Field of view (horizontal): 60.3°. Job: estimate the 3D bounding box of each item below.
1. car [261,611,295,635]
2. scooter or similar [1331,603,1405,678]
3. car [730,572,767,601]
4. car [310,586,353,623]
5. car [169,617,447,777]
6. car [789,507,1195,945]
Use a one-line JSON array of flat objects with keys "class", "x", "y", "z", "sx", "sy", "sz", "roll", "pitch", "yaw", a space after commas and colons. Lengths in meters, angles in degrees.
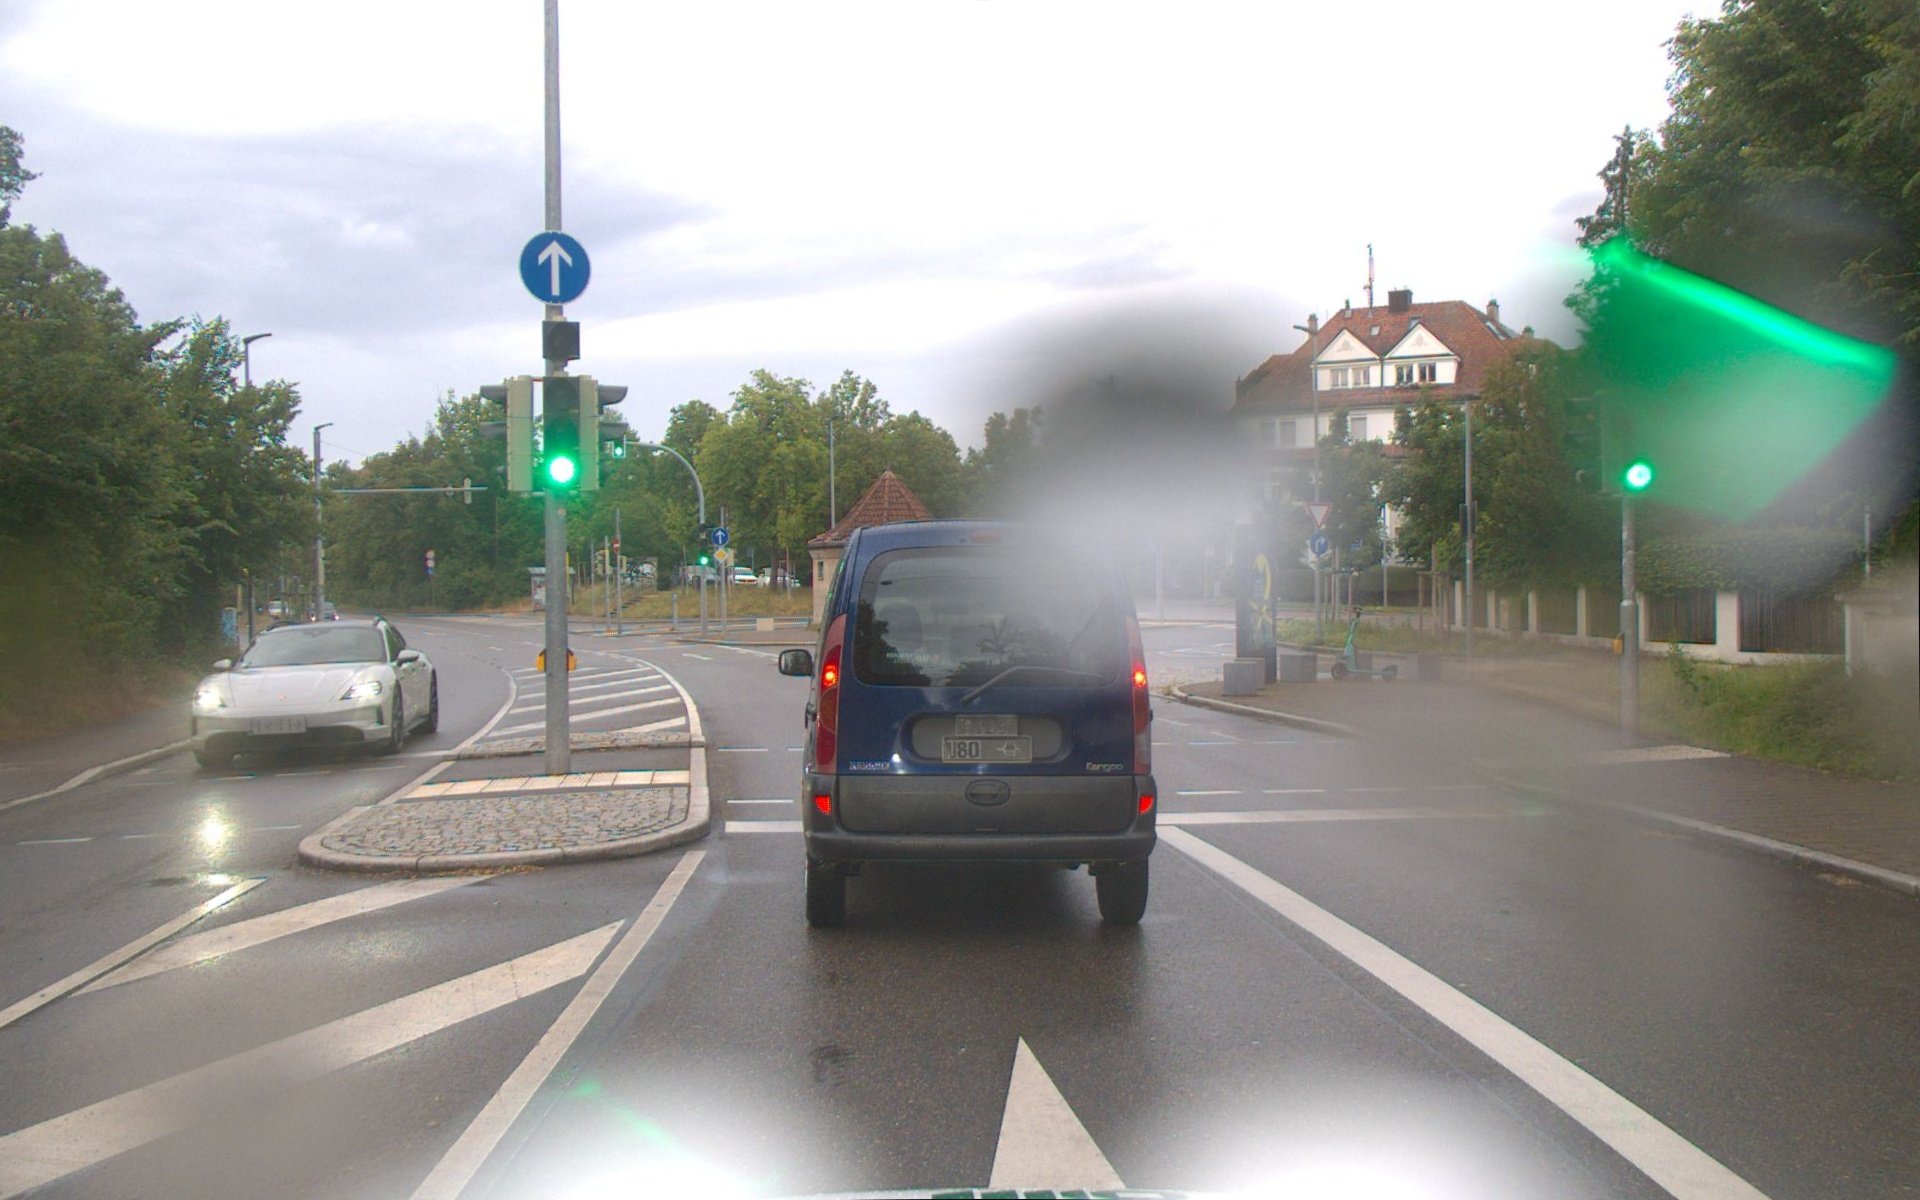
[{"class": "car", "x": -46.843, "y": 1.577, "z": 113.632, "sx": 1.964, "sy": 1.613, "sz": 3.976, "roll": 0, "pitch": -1, "yaw": -20}, {"class": "scooter or similar", "x": 6.839, "y": 0.678, "z": 27.739, "sx": 1.125, "sy": 1.240, "sz": 0.405, "roll": -1, "pitch": -1, "yaw": -2}, {"class": "car", "x": -14.006, "y": -0.856, "z": 109.675, "sx": 1.953, "sy": 1.844, "sz": 3.999, "roll": 0, "pitch": -1, "yaw": -1}, {"class": "car", "x": -35.838, "y": 0.293, "z": 94.231, "sx": 1.969, "sy": 2.049, "sz": 3.966, "roll": 0, "pitch": -1, "yaw": -26}, {"class": "car", "x": -6.926, "y": 0.948, "z": 18.064, "sx": 1.958, "sy": 1.334, "sz": 4.348, "roll": -3, "pitch": 1, "yaw": -11}, {"class": "car", "x": 0.050, "y": 0.512, "z": 8.913, "sx": 1.697, "sy": 1.817, "sz": 3.998, "roll": 0, "pitch": 0, "yaw": -3}]
